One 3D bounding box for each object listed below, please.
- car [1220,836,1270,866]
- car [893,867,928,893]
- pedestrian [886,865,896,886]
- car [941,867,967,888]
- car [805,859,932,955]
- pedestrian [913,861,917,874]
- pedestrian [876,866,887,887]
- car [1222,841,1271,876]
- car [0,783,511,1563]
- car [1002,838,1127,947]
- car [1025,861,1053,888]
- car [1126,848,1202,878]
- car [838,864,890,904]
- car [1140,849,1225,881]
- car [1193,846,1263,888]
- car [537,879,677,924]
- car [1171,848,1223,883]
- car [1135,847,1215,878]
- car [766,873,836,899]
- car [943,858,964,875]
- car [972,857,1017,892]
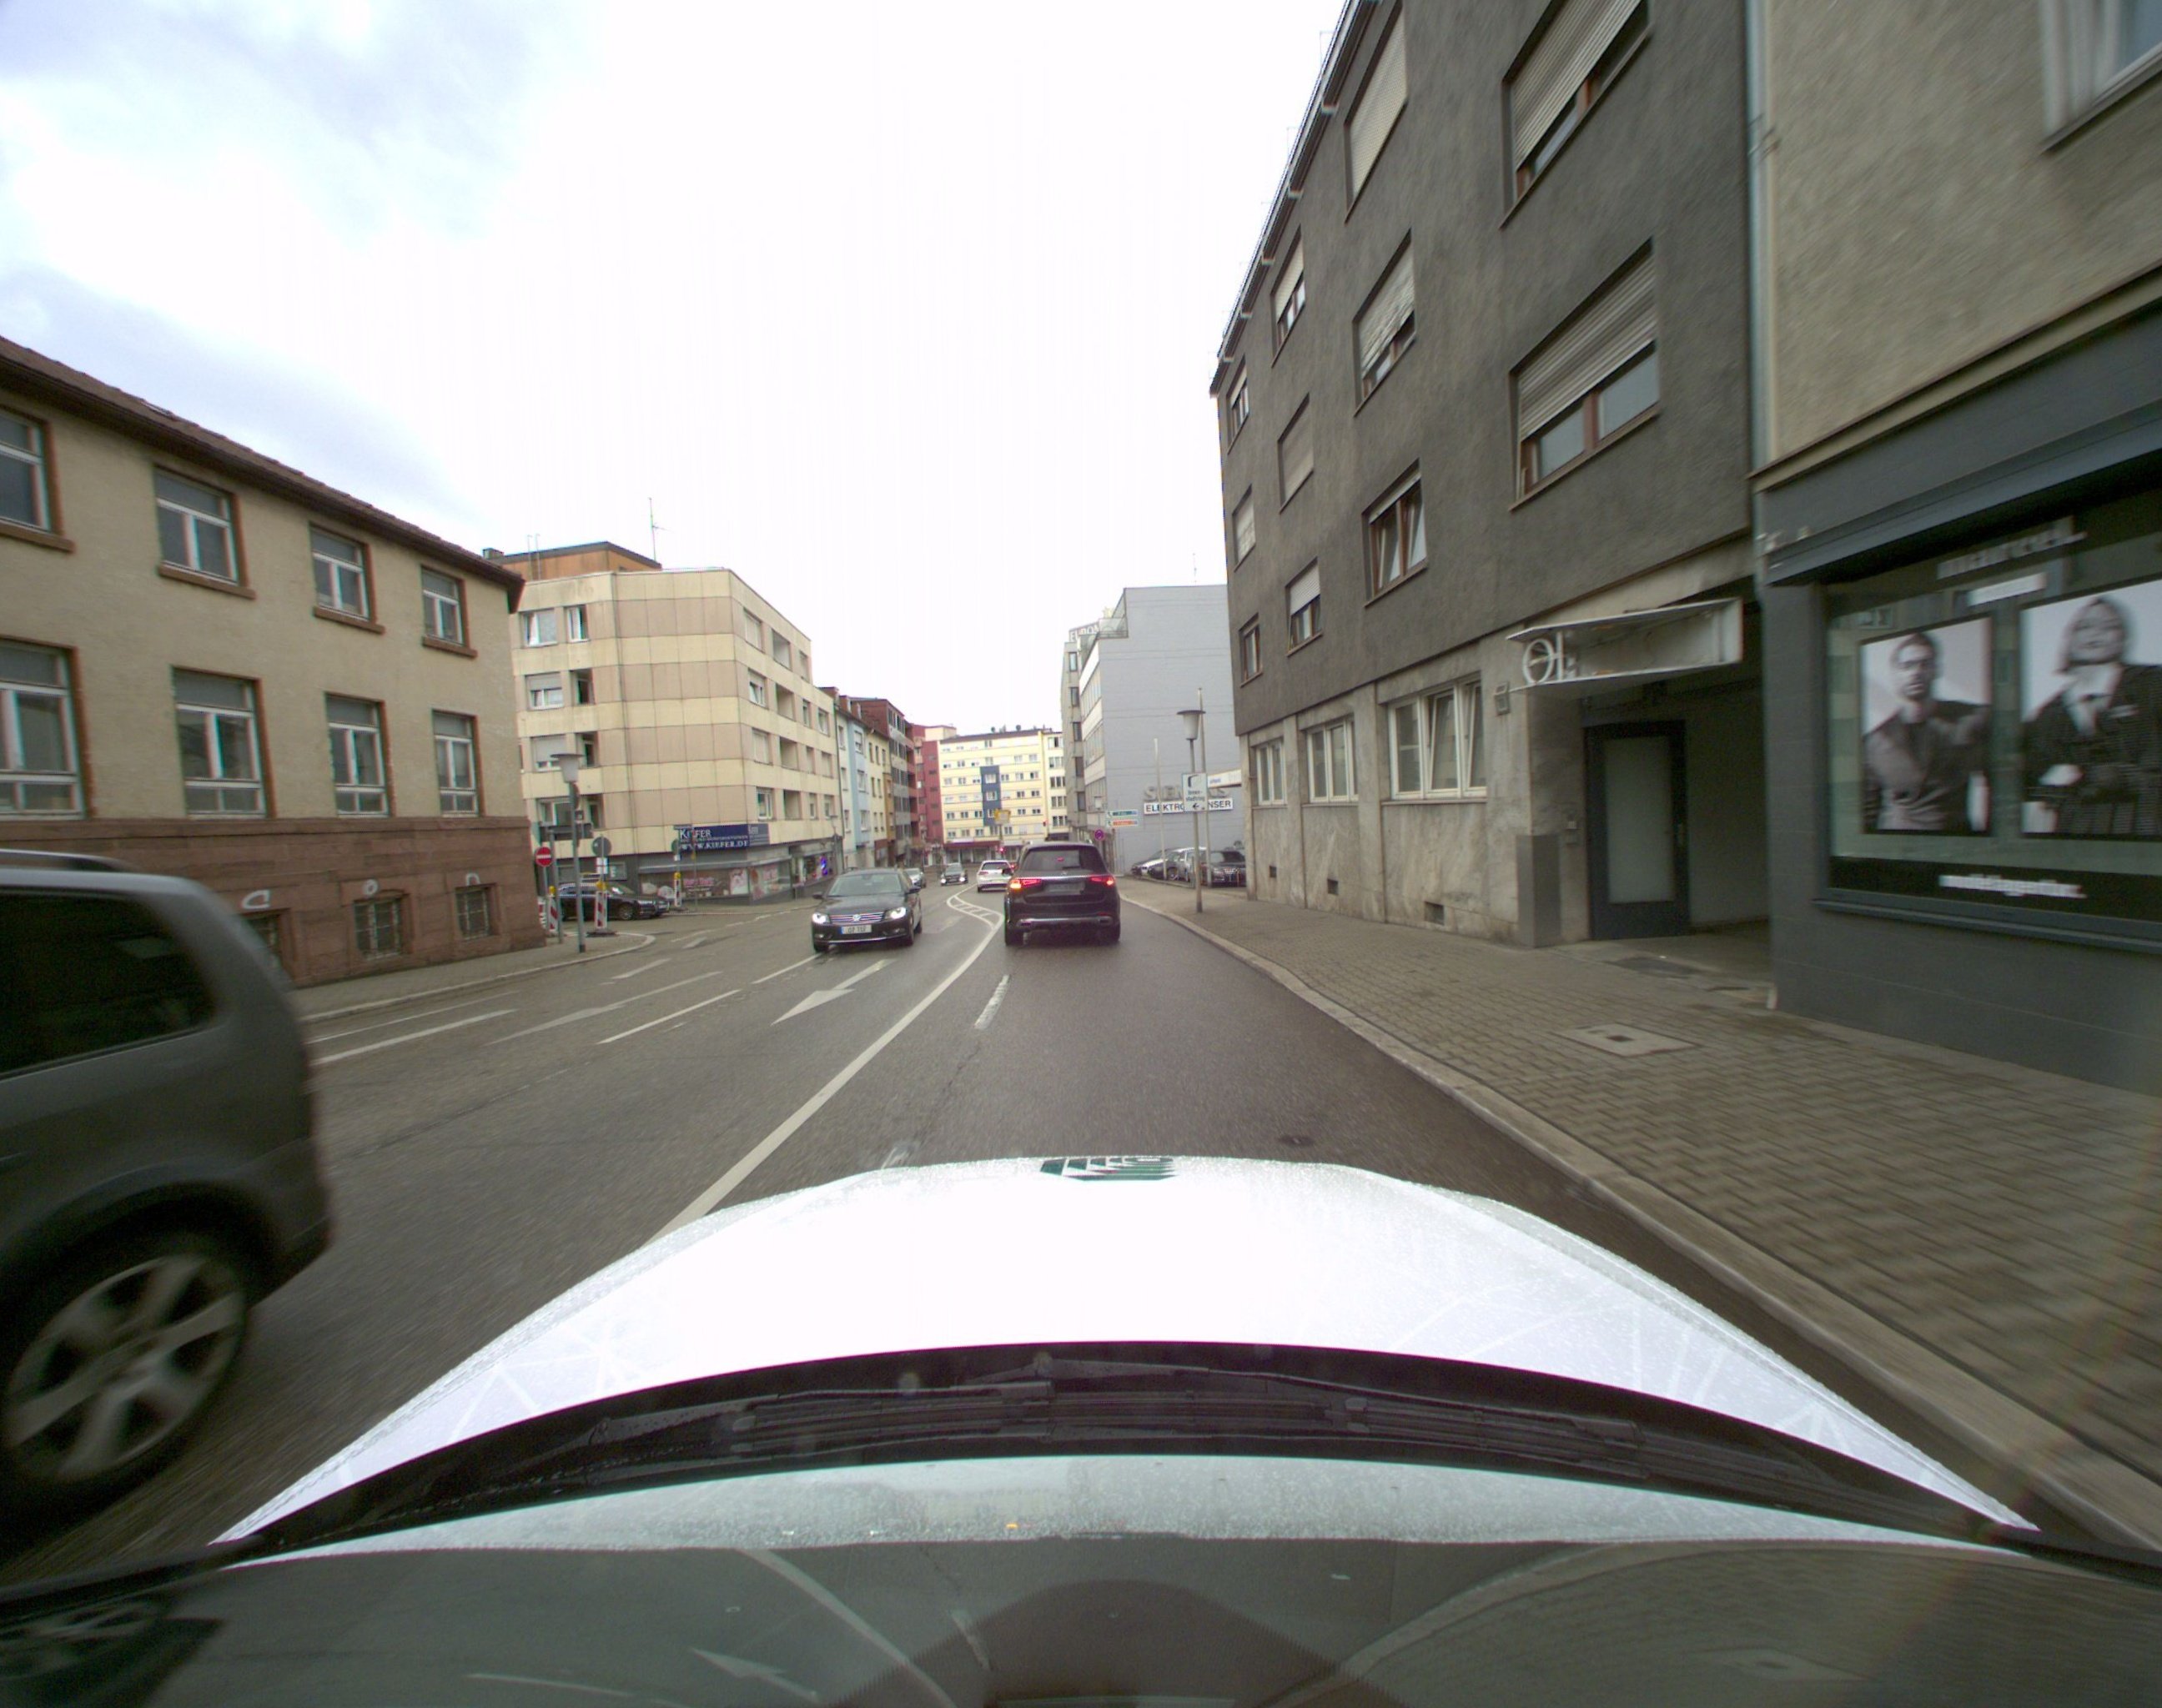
[{"bbox_3d":[9.754,-0.164,48.615,1.644,1.597,3.854,-2,-2,-9],"label":"car"},{"bbox_3d":[-11.733,1.796,56.424,1.742,1.539,4.633,-5,-1,-6],"label":"car"},{"bbox_3d":[-15.713,1.773,67.424,0.671,1.652,0.604,-3,4,-7],"label":"pedestrian"},{"bbox_3d":[-9.073,1.633,58.331,1.714,1.317,4.131,-3,0,-9],"label":"car"},{"bbox_3d":[-4.045,0.945,16.189,1.721,1.516,4.359,-4,-1,-6],"label":"car"},{"bbox_3d":[-18.794,1.542,92.422,0.317,1.474,0.339,-2,4,1],"label":"pedestrian"},{"bbox_3d":[-16.430,1.847,66.975,0.739,1.652,0.604,-3,4,-7],"label":"pedestrian"},{"bbox_3d":[7.845,0.245,38.846,1.523,1.512,3.390,-2,-2,-1],"label":"car"},{"bbox_3d":[-3.314,0.722,1.043,1.800,1.705,4.563,-2,-1,2],"label":"car"},{"bbox_3d":[-0.490,0.637,15.757,2.018,1.739,4.737,-1,0,-6],"label":"car"},{"bbox_3d":[-2.714,1.266,52.141,1.520,1.548,3.101,-3,0,-6],"label":"car"},{"bbox_3d":[4.820,0.498,47.343,4.004,1.597,1.785,-1,-2,-23],"label":"car"},{"bbox_3d":[-10.047,1.361,37.962,1.714,1.586,4.132,-5,-1,-8],"label":"car"},{"bbox_3d":[5.257,0.561,42.226,4.004,1.495,1.720,-1,-2,-23],"label":"car"},{"bbox_3d":[5.764,0.489,32.489,1.792,1.477,4.481,-2,0,-2],"label":"car"},{"bbox_3d":[-18.146,1.797,31.308,4.310,1.512,1.902,-2,-1,7],"label":"car"},{"bbox_3d":[5.365,0.516,38.003,1.562,1.477,4.064,-2,0,-4],"label":"car"},{"bbox_3d":[5.162,0.473,44.762,4.004,1.597,1.785,-1,-2,-23],"label":"car"},{"bbox_3d":[-18.554,2.125,54.117,3.982,1.499,1.795,-2,-1,-6],"label":"car"},{"bbox_3d":[-14.334,1.381,91.923,1.867,1.753,4.391,-5,0,-5],"label":"car"},{"bbox_3d":[-4.191,0.930,38.900,1.830,1.461,4.365,-4,0,-9],"label":"car"}]
